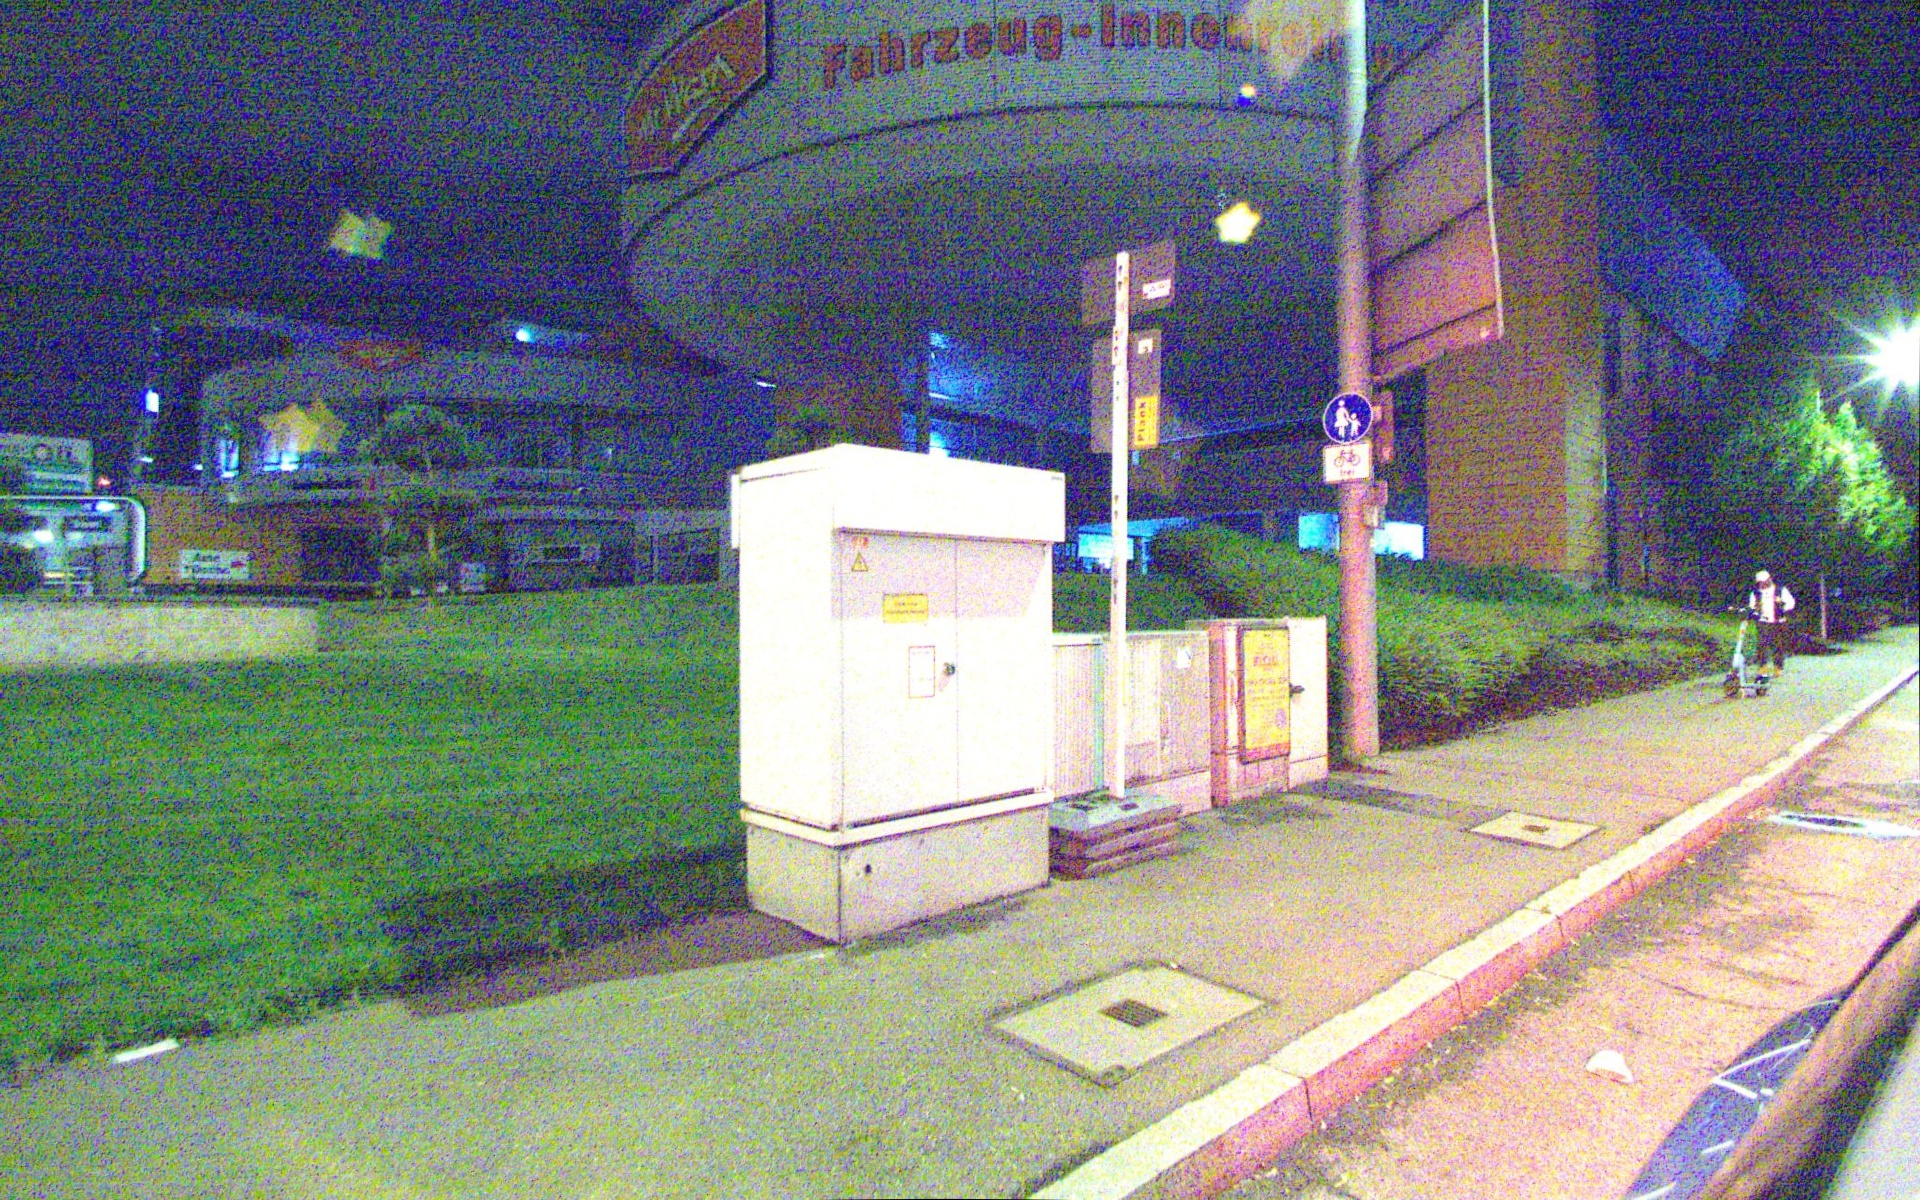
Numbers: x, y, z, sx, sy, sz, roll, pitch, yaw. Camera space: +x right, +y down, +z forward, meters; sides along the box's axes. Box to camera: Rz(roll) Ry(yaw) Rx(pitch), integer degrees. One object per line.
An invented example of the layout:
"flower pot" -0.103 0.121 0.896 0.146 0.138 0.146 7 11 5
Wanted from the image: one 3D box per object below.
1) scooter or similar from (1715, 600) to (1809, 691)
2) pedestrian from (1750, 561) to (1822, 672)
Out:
"scooter or similar" 11.062 0.624 13.963 1.111 1.217 0.470 1 -1 -17
"pedestrian" 14.662 0.276 17.968 1.016 1.888 0.819 0 0 -41
